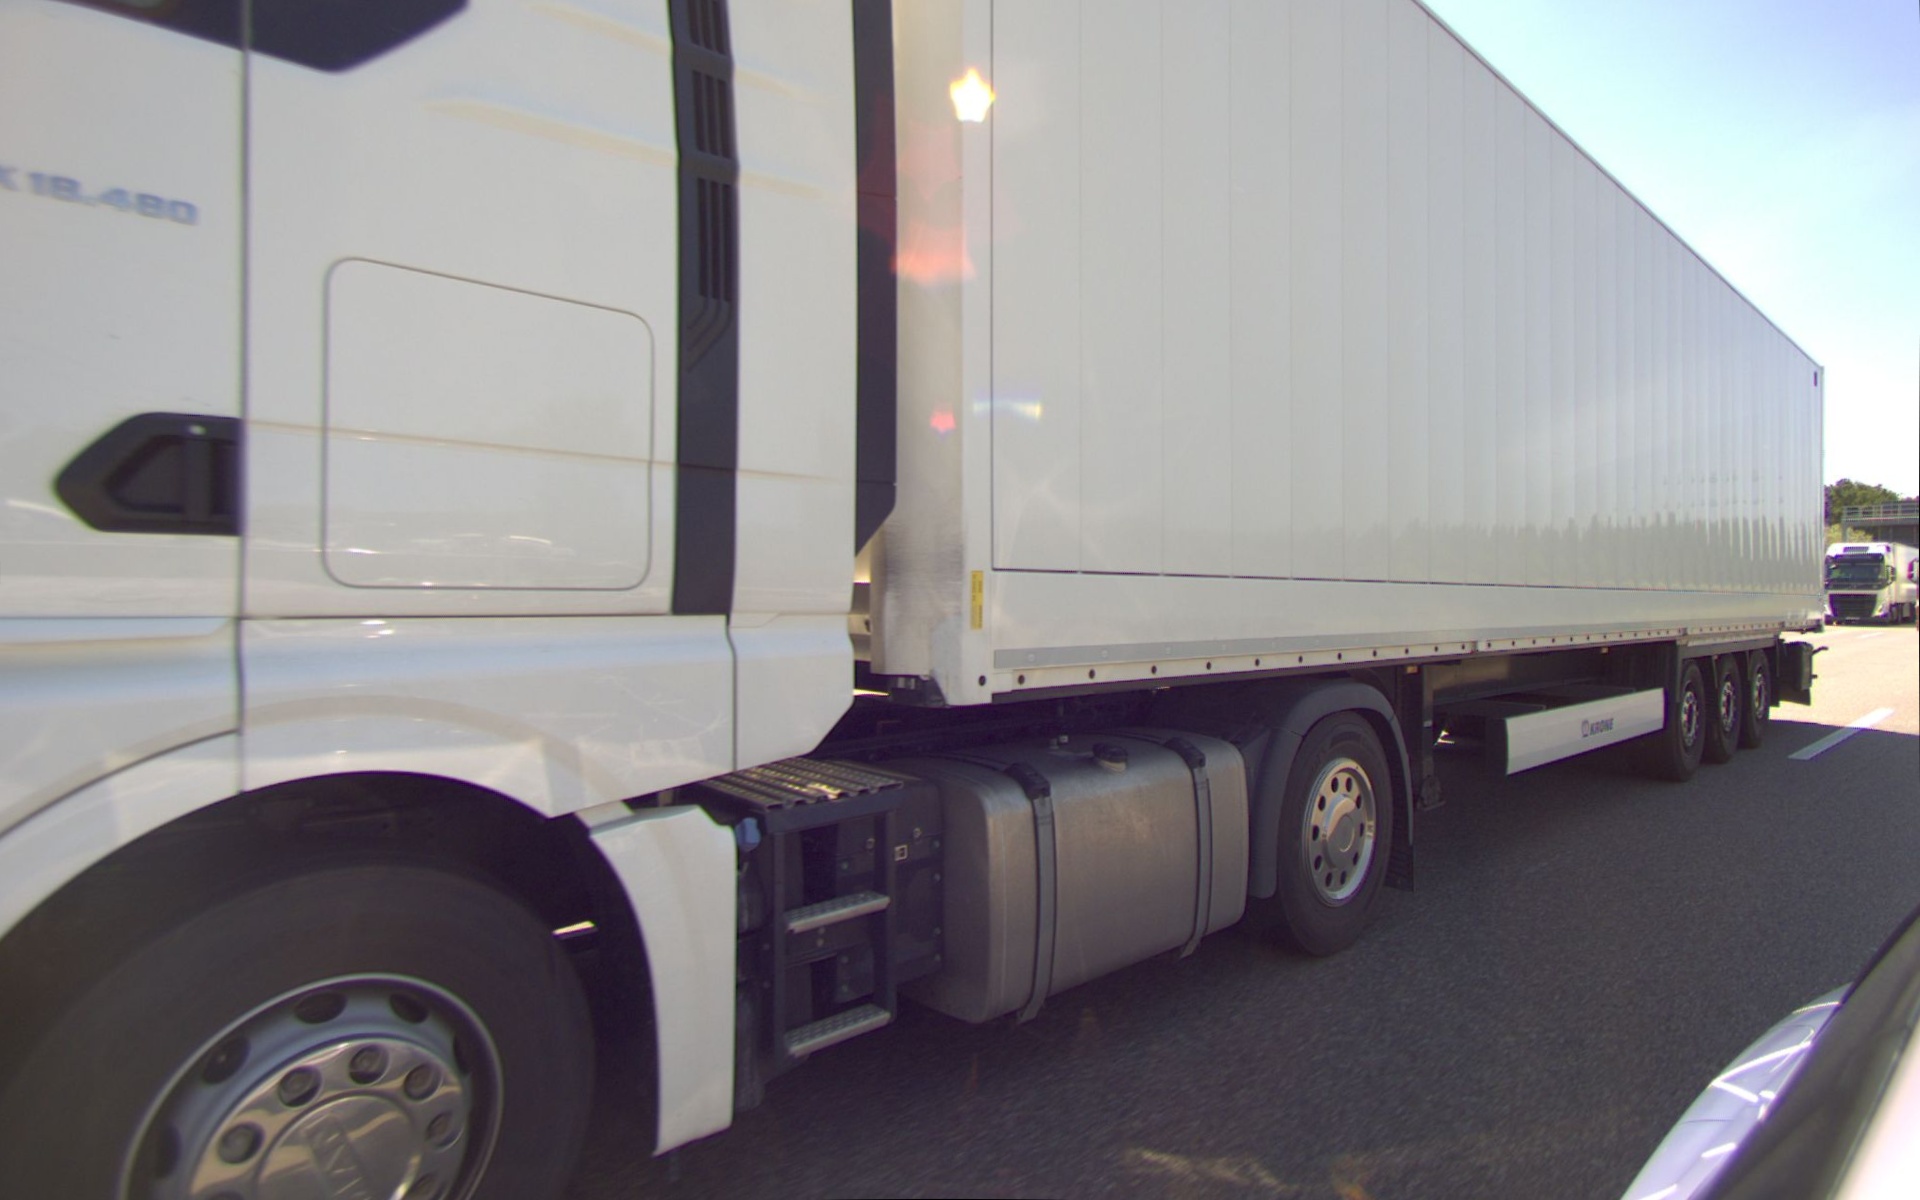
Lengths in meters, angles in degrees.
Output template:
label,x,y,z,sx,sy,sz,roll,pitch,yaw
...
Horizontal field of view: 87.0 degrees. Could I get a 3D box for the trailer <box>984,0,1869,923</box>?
label,x,y,z,sx,sy,sz,roll,pitch,yaw
trailer,5.689,-0.726,9.451,12.350,4.086,2.799,0,1,-42

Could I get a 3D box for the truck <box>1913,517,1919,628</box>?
label,x,y,z,sx,sy,sz,roll,pitch,yaw
truck,38.163,-1.018,38.058,5.997,4.036,2.945,0,0,-42

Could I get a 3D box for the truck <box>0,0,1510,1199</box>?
label,x,y,z,sx,sy,sz,roll,pitch,yaw
truck,-0.521,-0.647,3.915,5.916,4.057,2.804,0,1,-42

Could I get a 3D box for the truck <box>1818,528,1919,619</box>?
label,x,y,z,sx,sy,sz,roll,pitch,yaw
truck,46.281,-1.262,51.011,10.786,4.144,3.031,0,1,-41
